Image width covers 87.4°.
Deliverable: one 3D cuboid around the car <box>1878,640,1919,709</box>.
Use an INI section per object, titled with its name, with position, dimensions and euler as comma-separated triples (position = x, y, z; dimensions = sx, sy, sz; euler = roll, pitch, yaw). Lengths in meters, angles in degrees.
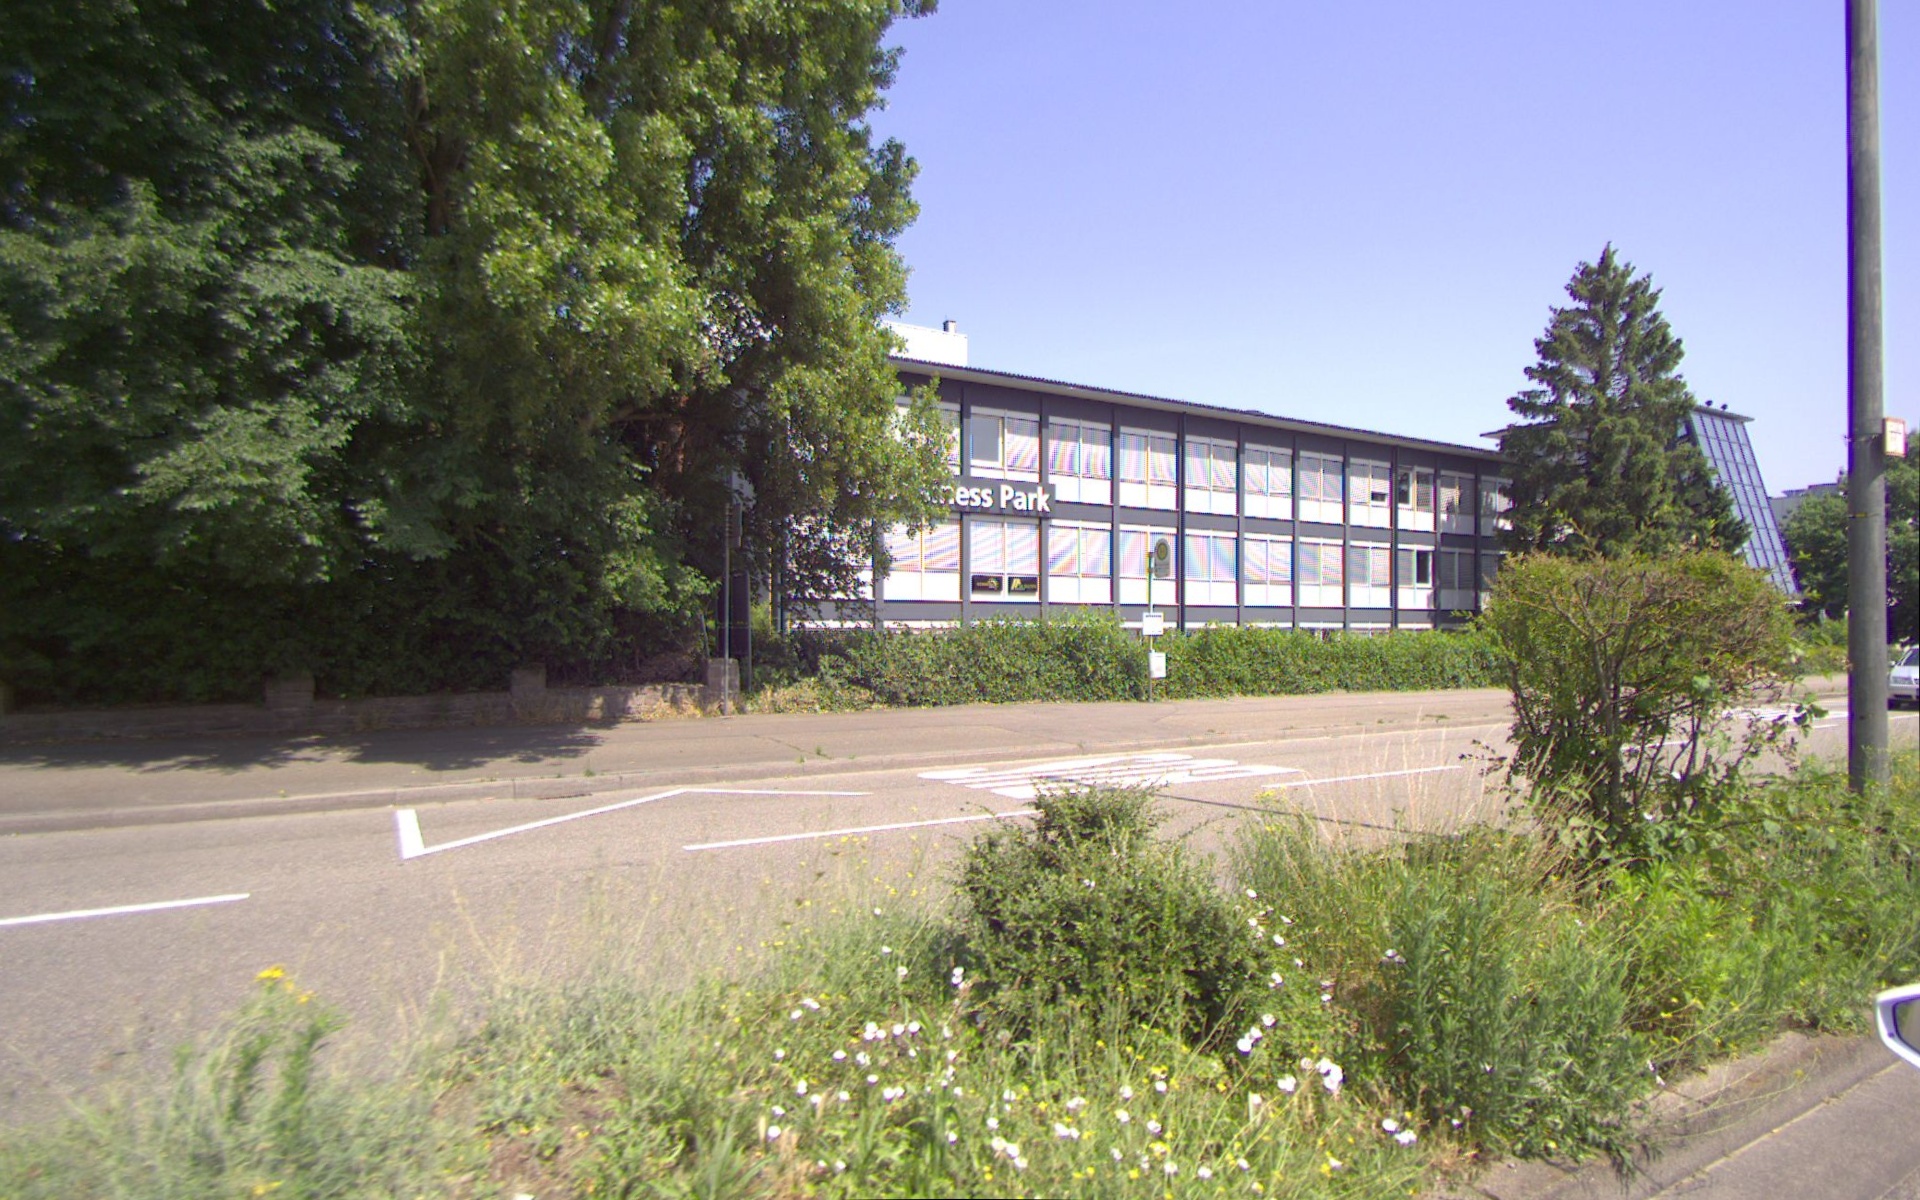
[car]
position = 21.964, 1.607, 22.277
dimensions = 4.334, 1.431, 1.722
euler = 2, -2, -39
